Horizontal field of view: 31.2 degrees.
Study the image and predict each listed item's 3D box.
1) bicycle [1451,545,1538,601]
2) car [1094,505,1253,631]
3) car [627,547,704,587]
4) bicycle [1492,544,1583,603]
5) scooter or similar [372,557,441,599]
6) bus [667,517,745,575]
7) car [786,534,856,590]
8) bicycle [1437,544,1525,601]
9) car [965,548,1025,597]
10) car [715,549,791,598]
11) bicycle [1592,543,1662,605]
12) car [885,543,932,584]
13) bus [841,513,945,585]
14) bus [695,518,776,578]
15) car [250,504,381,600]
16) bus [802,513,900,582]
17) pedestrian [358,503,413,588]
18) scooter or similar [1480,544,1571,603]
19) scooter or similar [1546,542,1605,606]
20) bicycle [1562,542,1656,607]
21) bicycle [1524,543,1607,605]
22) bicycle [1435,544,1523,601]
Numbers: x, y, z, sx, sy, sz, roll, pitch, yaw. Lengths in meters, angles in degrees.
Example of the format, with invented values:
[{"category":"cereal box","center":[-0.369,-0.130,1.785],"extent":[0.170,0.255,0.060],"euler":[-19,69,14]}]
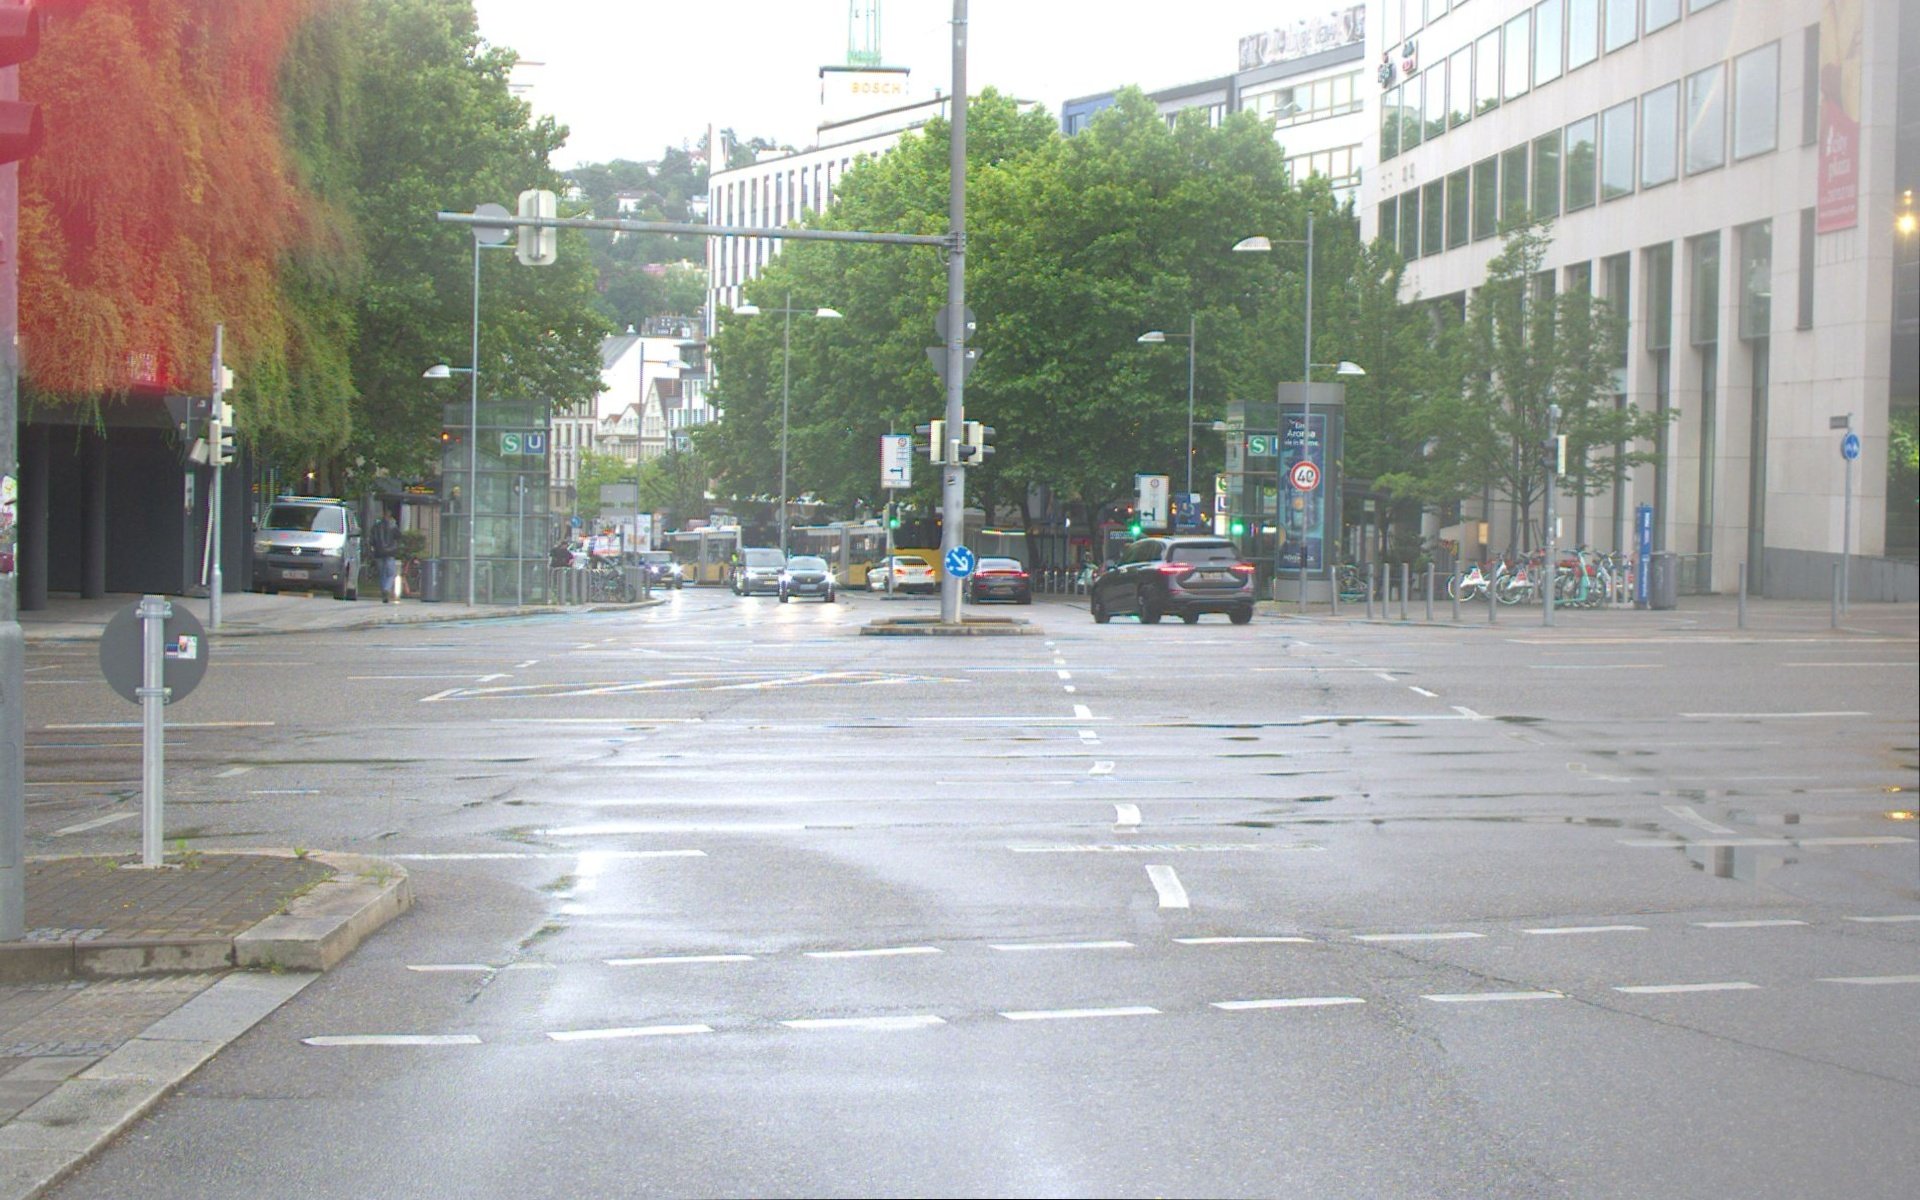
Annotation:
[{"category":"bicycle","center":[11.552,-0.589,74.319],"extent":[1.777,1.190,0.586],"euler":[1,0,2]},{"category":"car","center":[3.516,-0.540,57.386],"extent":[1.543,2.007,4.669],"euler":[1,1,-11]},{"category":"car","center":[-13.287,-1.482,154.754],"extent":[2.163,1.759,5.113],"euler":[1,1,-20]},{"category":"bicycle","center":[12.023,-0.556,71.598],"extent":[1.777,1.190,0.586],"euler":[1,0,2]},{"category":"scooter or similar","center":[-13.285,-0.532,82.541],"extent":[0.623,1.001,1.657],"euler":[1,1,38]},{"category":"bus","center":[-13.368,-2.841,180.321],"extent":[2.627,2.985,7.451],"euler":[0,1,-16]},{"category":"car","center":[-4.558,-1.233,111.882],"extent":[2.164,1.759,5.112],"euler":[1,1,-3]},{"category":"bicycle","center":[11.124,-0.586,73.401],"extent":[1.777,1.190,0.586],"euler":[1,0,2]},{"category":"car","center":[1.079,-0.861,107.206],"extent":[1.781,1.503,4.000],"euler":[1,1,-1]},{"category":"car","center":[-7.715,-1.006,127.604],"extent":[2.163,1.759,4.832],"euler":[-1,1,-11]},{"category":"bicycle","center":[12.995,-0.496,66.945],"extent":[0.586,1.190,1.779],"euler":[1,1,38]},{"category":"car","center":[-1.966,-1.406,132.164],"extent":[1.781,1.503,4.000],"euler":[1,1,-1]},{"category":"bus","center":[-2.898,-2.191,145.934],"extent":[2.627,2.985,7.451],"euler":[0,1,-16]},{"category":"bus","center":[-11.353,-2.645,173.226],"extent":[2.627,2.985,7.330],"euler":[0,1,-16]},{"category":"car","center":[-12.778,-0.944,68.323],"extent":[1.870,1.833,4.000],"euler":[1,1,-1]},{"category":"bus","center":[-4.912,-2.352,153.080],"extent":[2.627,2.985,7.451],"euler":[0,1,-16]},{"category":"pedestrian","center":[-11.258,-1.059,67.372],"extent":[0.933,1.638,0.774],"euler":[1,0,-1]},{"category":"scooter or similar","center":[11.669,-0.554,70.975],"extent":[1.777,1.190,0.586],"euler":[1,0,2]},{"category":"scooter or similar","center":[11.480,-0.489,64.151],"extent":[0.963,1.190,0.454],"euler":[1,1,40]},{"category":"bicycle","center":[12.234,-0.485,64.836],"extent":[1.624,1.190,0.586],"euler":[1,0,26]},{"category":"bicycle","center":[11.691,-0.508,66.388],"extent":[0.584,1.190,1.784],"euler":[1,1,-28]},{"category":"bicycle","center":[10.976,-0.582,72.767],"extent":[1.777,1.190,0.586],"euler":[1,0,2]}]
